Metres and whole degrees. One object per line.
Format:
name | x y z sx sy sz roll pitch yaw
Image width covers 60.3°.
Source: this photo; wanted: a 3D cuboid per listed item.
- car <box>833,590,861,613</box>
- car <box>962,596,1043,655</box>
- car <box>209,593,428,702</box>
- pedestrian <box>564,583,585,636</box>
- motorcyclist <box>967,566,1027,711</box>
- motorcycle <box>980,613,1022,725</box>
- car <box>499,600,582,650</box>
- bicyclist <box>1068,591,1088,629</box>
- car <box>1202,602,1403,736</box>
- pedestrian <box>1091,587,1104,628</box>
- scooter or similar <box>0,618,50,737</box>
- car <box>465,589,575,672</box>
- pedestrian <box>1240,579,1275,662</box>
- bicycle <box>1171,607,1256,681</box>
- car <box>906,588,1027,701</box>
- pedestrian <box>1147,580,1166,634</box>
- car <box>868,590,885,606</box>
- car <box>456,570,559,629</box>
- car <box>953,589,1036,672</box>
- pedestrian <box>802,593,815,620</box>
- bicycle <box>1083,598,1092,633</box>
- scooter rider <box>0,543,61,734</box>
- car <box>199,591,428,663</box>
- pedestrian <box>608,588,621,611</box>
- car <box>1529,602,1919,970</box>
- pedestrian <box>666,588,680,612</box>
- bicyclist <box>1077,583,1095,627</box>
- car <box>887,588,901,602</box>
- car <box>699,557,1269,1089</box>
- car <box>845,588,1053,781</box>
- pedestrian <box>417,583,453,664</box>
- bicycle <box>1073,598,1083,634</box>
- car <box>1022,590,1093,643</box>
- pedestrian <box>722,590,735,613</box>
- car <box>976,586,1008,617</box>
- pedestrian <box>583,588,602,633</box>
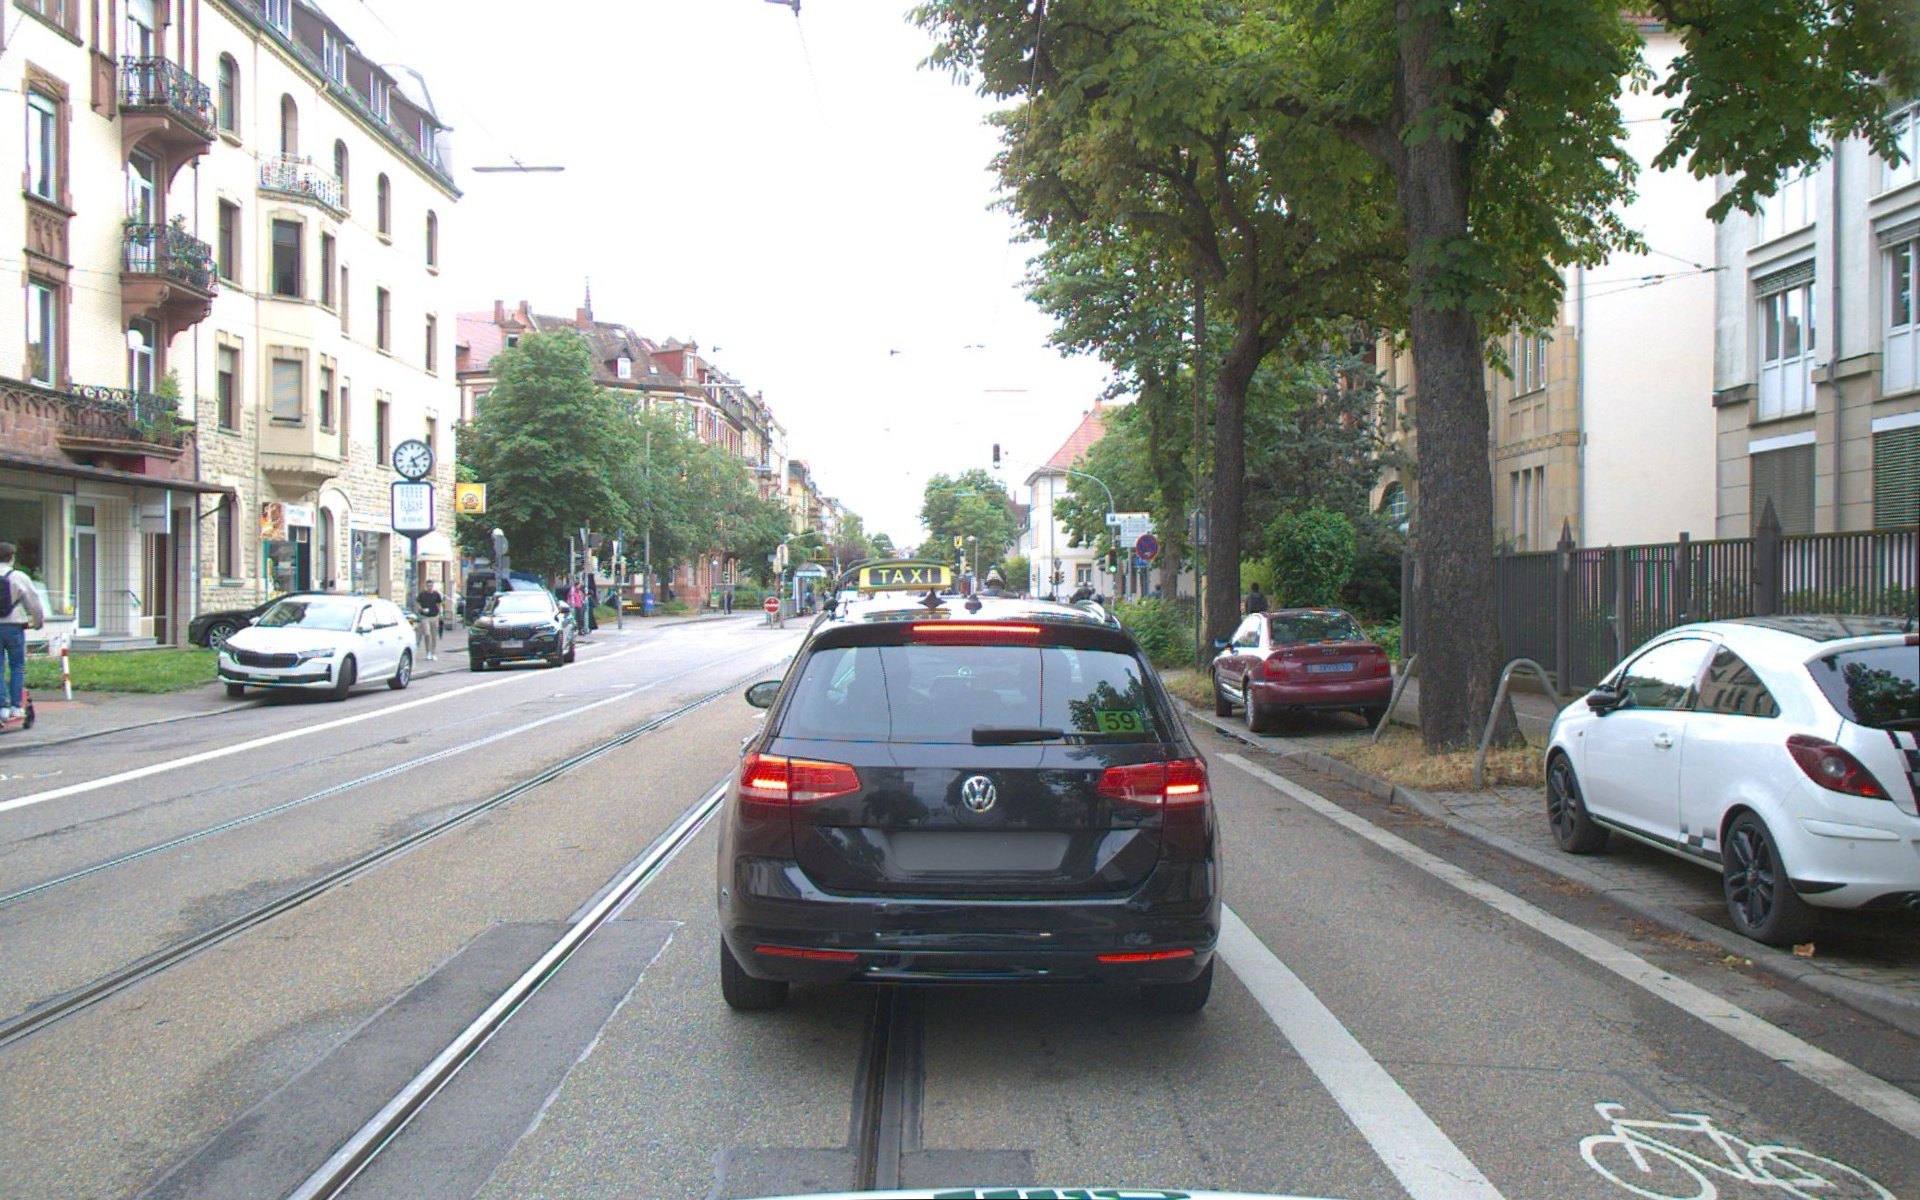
car | -9.470 0.122 138.506 1.952 1.822 4.000 1 0 1
car | 1.172 0.635 43.573 1.852 1.432 4.003 -1 0 5
car | -9.777 0.658 25.593 1.712 1.510 4.607 0 0 -2
pedestrian | -13.651 0.322 58.577 0.610 1.875 0.609 0 0 -3
motorcyclist | 0.444 0.459 20.070 0.688 1.722 0.804 0 0 -1
motorcycle | 0.485 0.805 20.071 0.437 1.257 1.906 0 0 -1
car | -12.564 0.721 49.746 1.616 1.385 4.127 2 0 -3
bicyclist | 4.141 0.353 58.089 0.637 1.324 0.696 0 0 7
car | 4.205 0.788 20.938 1.569 1.423 4.226 -2 0 -1
pedestrian | 5.308 0.294 63.874 0.441 1.589 0.479 0 0 7
scooter or similar | -10.309 0.828 18.067 0.226 1.256 0.953 0 0 -1
car | -9.809 0.637 37.165 1.849 1.640 4.876 -3 0 -9
pedestrian | 6.708 0.450 37.272 0.619 1.846 0.726 0 0 -3
bicycle | 4.351 0.746 28.298 0.426 1.219 1.891 0 -1 44
car | 0.060 0.614 25.191 1.688 1.573 3.999 0 0 -1
pedestrian | 6.968 0.249 58.687 0.503 1.863 0.418 -3 0 15
car | -8.928 -0.257 177.920 1.686 1.651 3.862 0 0 -1
car | -19.731 -0.034 71.951 2.168 2.460 5.295 0 0 -43
car | 0.664 0.608 34.034 1.574 1.583 3.577 1 0 -1
pedestrian | -8.717 0.377 95.269 0.699 1.547 0.590 0 0 0
bicycle | 4.717 0.569 61.143 0.291 1.244 1.431 0 0 6
scooter rider | -10.347 0.413 18.070 0.629 2.049 0.757 0 0 -1
car | -14.349 0.586 36.923 4.340 1.394 1.878 2 0 -6
pedestrian | -22.811 -0.033 109.191 0.577 1.547 0.647 0 0 34
car | 4.502 0.786 8.861 1.569 1.460 3.776 -2 0 0
pedestrian | -19.079 0.007 109.950 0.577 1.547 0.647 0 0 34
bicyclist | 4.674 0.176 61.215 0.637 1.596 0.696 0 0 6
car | -8.385 -0.635 210.289 1.686 1.651 3.862 0 0 -1
car | 0.047 0.652 6.915 1.688 1.573 3.999 0 0 -1
car | -0.115 0.680 15.507 1.688 1.573 3.999 0 0 -1
pedestrian | -12.235 0.537 38.573 0.655 1.876 0.880 -1 0 -8
bicycle | 4.151 0.557 58.066 0.247 1.217 1.158 0 0 9
car | 3.071 0.528 52.903 1.953 1.605 3.999 1 0 -1
pedestrian | -15.622 0.098 111.752 0.577 1.547 0.647 0 0 34
car | 2.134 0.110 112.052 1.991 2.049 3.999 1 0 -1
pedestrian | -13.936 0.397 62.749 0.577 1.692 0.838 0 0 -4
